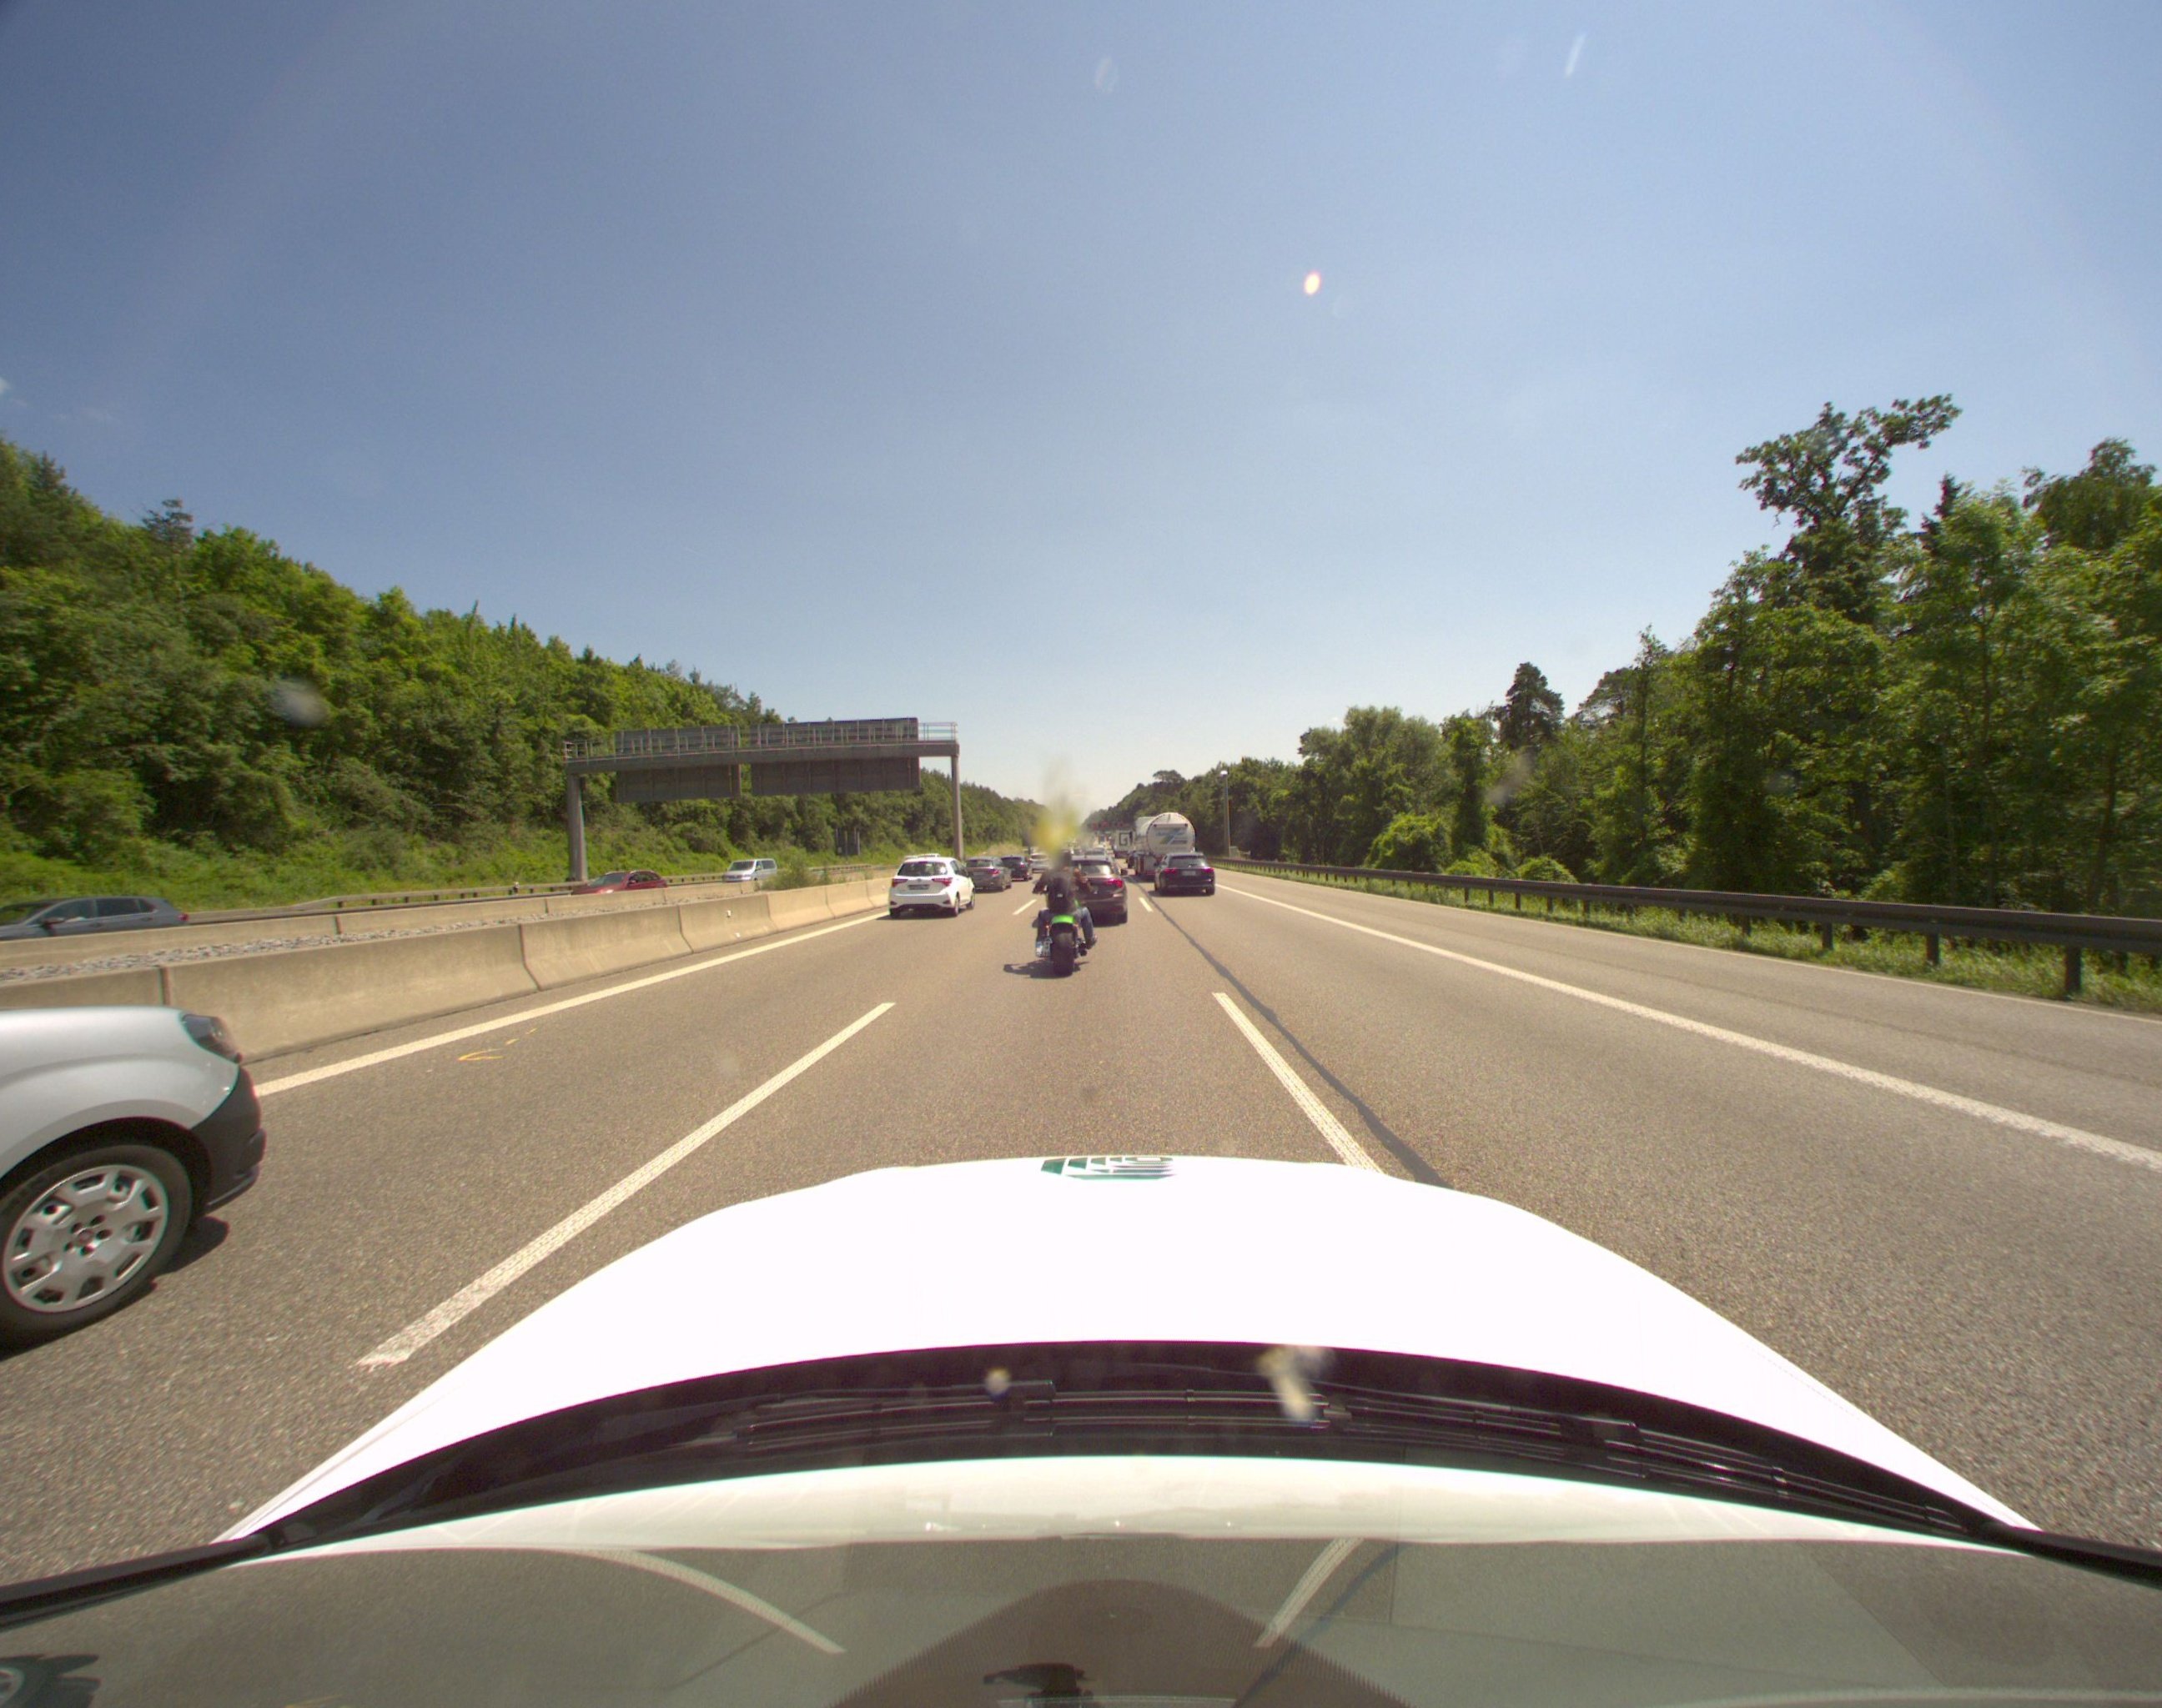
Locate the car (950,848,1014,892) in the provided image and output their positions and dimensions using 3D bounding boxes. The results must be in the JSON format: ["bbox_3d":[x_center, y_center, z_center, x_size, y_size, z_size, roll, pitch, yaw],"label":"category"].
[{"bbox_3d":[-4.041,0.652,33.788,1.986,1.684,4.331,-1,-1,1],"label":"car"}]

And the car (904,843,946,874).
[{"bbox_3d":[-10.646,0.307,55.862,1.987,2.014,4.193,-1,-1,1],"label":"car"}]

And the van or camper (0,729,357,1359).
[{"bbox_3d":[-4.202,0.584,1.312,1.846,1.880,4.564,-1,0,2],"label":"van or camper"}]

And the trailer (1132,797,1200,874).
[{"bbox_3d":[4.363,-0.788,44.213,2.817,3.671,10.735,-1,-1,2],"label":"trailer"}]

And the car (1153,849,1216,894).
[{"bbox_3d":[3.631,0.631,29.198,1.785,1.458,4.625,-1,-1,1],"label":"car"}]

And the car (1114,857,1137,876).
[{"bbox_3d":[3.632,1.055,67.619,1.769,1.527,4.001,-1,-1,1],"label":"car"}]

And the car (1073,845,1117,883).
[{"bbox_3d":[0.682,0.496,39.759,1.987,1.711,4.000,-1,-1,1],"label":"car"}]

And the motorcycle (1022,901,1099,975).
[{"bbox_3d":[-0.229,1.099,11.182,0.932,0.793,2.299,-1,0,1],"label":"motorcycle"}]

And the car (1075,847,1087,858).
[{"bbox_3d":[0.005,-0.232,131.605,1.654,1.599,4.002,-1,-1,2],"label":"car"}]

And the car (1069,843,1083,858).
[{"bbox_3d":[-0.686,-0.424,113.380,1.654,1.978,4.002,-1,-1,2],"label":"car"}]

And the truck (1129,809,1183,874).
[{"bbox_3d":[4.495,-0.671,50.150,2.818,3.671,6.430,-1,-1,1],"label":"truck"}]

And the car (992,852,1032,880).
[{"bbox_3d":[-3.761,0.681,45.181,1.988,1.464,3.997,-1,-1,-2],"label":"car"}]

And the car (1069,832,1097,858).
[{"bbox_3d":[0.172,-0.646,61.073,1.987,1.775,4.000,-1,-1,1],"label":"car"}]

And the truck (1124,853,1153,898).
[{"bbox_3d":[6.023,2.118,87.082,2.380,4.464,10.869,-1,0,1],"label":"truck"}]

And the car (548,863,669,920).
[{"bbox_3d":[-17.962,1.382,31.223,1.986,2.014,4.285,-1,-1,2],"label":"car"}]

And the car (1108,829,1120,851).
[{"bbox_3d":[6.230,-2.567,156.050,2.159,3.893,9.332,-1,-1,2],"label":"car"}]

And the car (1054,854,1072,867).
[{"bbox_3d":[-2.070,0.748,94.579,1.757,1.442,4.002,-1,0,2],"label":"car"}]

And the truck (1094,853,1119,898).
[{"bbox_3d":[2.641,2.169,87.598,2.380,4.464,10.869,-1,0,1],"label":"truck"}]

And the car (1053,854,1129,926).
[{"bbox_3d":[0.252,0.746,18.688,1.535,1.450,4.001,-1,0,1],"label":"car"}]

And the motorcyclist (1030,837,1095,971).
[{"bbox_3d":[-0.224,0.645,10.879,0.796,1.688,1.017,-1,-1,1],"label":"motorcyclist"}]

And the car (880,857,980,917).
[{"bbox_3d":[-3.859,0.827,21.427,1.769,1.411,4.001,-1,-1,1],"label":"car"}]

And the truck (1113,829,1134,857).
[{"bbox_3d":[6.234,-1.573,118.382,2.841,3.821,7.195,-1,-1,4],"label":"truck"}]

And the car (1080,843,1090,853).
[{"bbox_3d":[0.912,-1.265,181.282,1.986,2.014,4.001,-2,0,1],"label":"car"}]

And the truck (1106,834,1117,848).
[{"bbox_3d":[8.135,-3.364,216.822,2.686,3.405,10.481,-2,0,2],"label":"truck"}]

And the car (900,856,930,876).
[{"bbox_3d":[-16.971,1.258,83.529,1.986,2.014,4.475,-1,-1,2],"label":"car"}]

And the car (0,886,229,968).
[{"bbox_3d":[-21.048,1.441,17.100,1.986,1.447,4.002,-1,-1,2],"label":"car"}]

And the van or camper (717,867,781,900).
[{"bbox_3d":[-20.919,1.828,51.562,1.986,2.014,4.682,-1,-1,2],"label":"van or camper"}]

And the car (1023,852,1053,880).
[{"bbox_3d":[-3.176,0.879,60.880,1.986,2.014,4.000,-1,-1,1],"label":"car"}]
